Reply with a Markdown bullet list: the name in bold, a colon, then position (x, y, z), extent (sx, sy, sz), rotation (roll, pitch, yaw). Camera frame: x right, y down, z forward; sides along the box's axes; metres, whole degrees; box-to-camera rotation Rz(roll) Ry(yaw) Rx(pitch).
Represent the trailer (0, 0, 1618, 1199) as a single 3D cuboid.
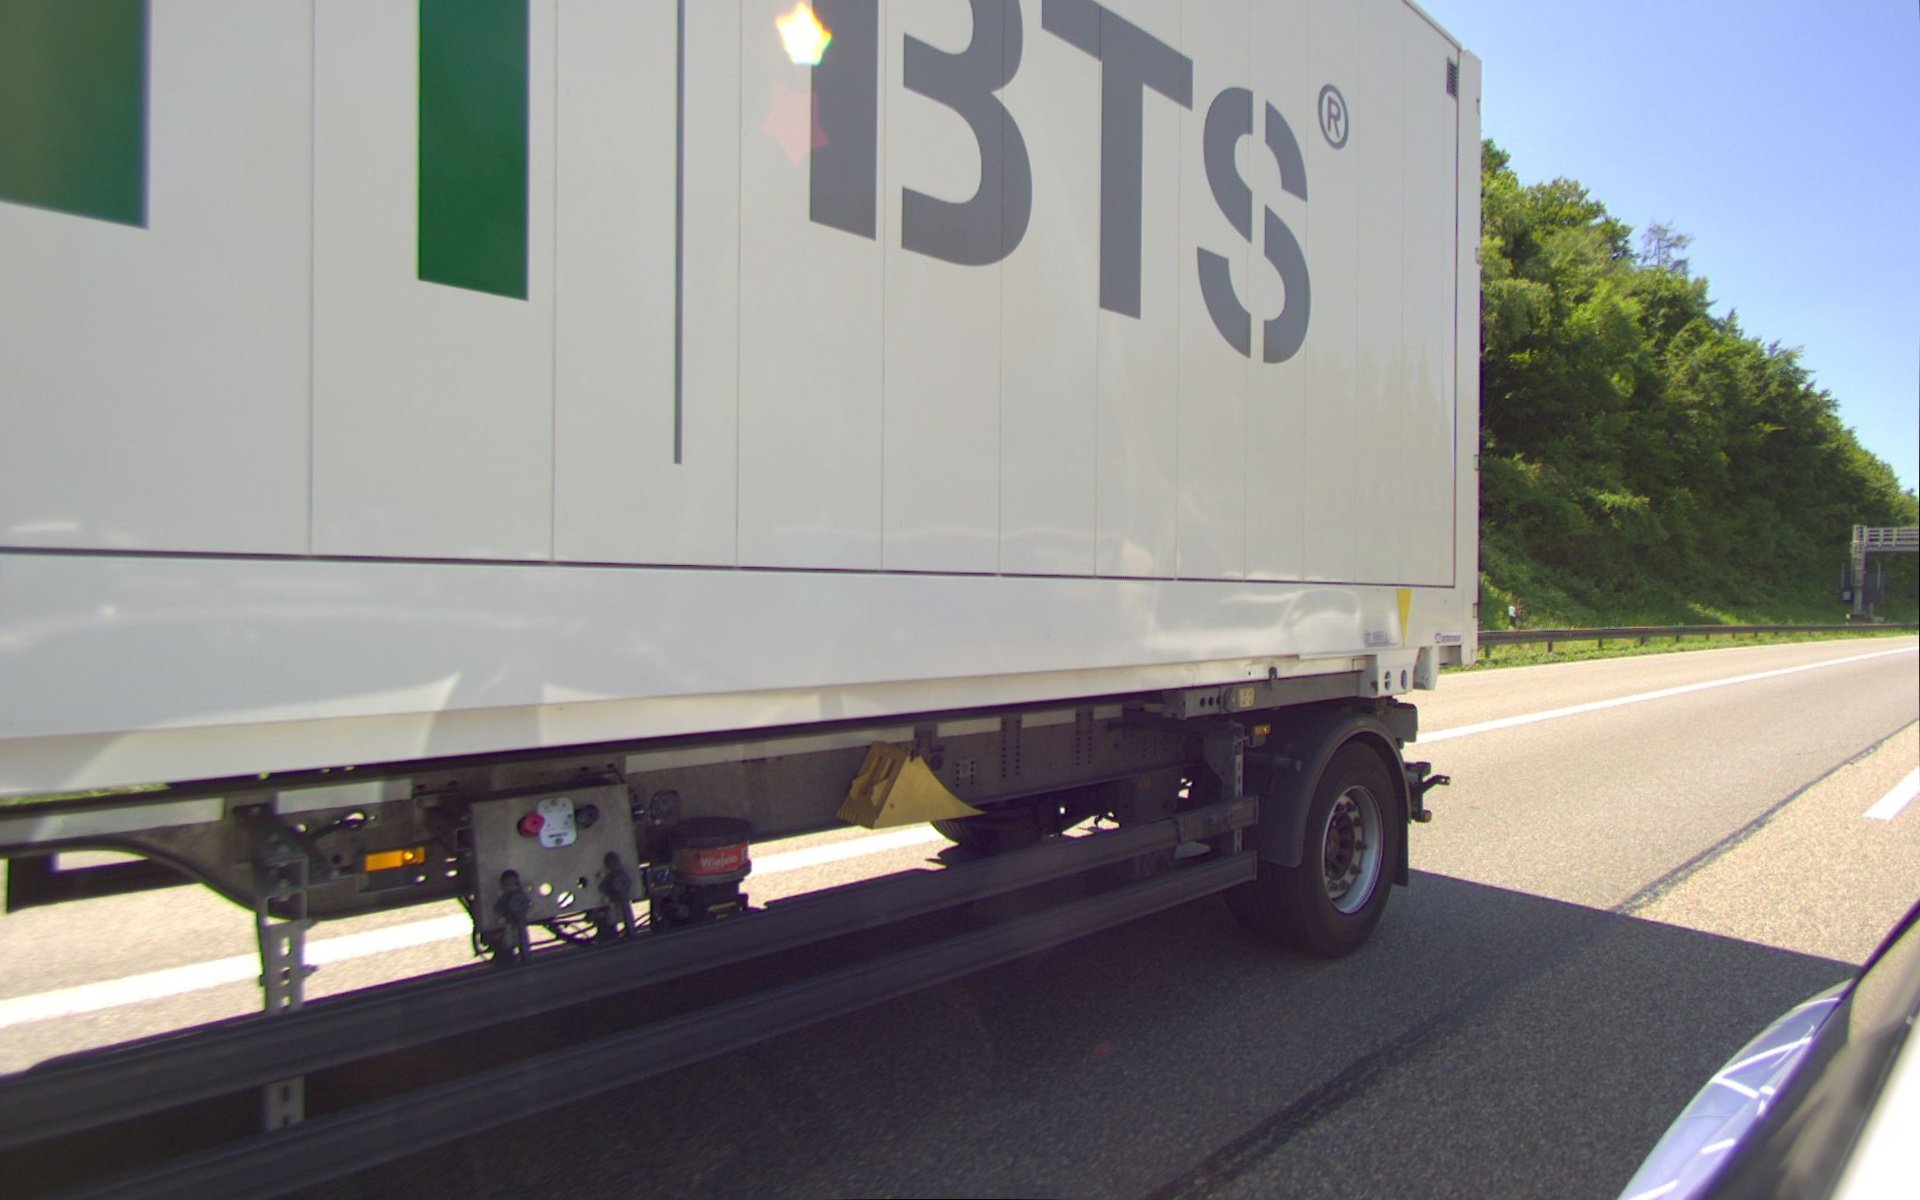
- **trailer**: position (-0.749, -0.747, 3.647), extent (9.889, 4.229, 2.684), rotation (1, 0, -41)
